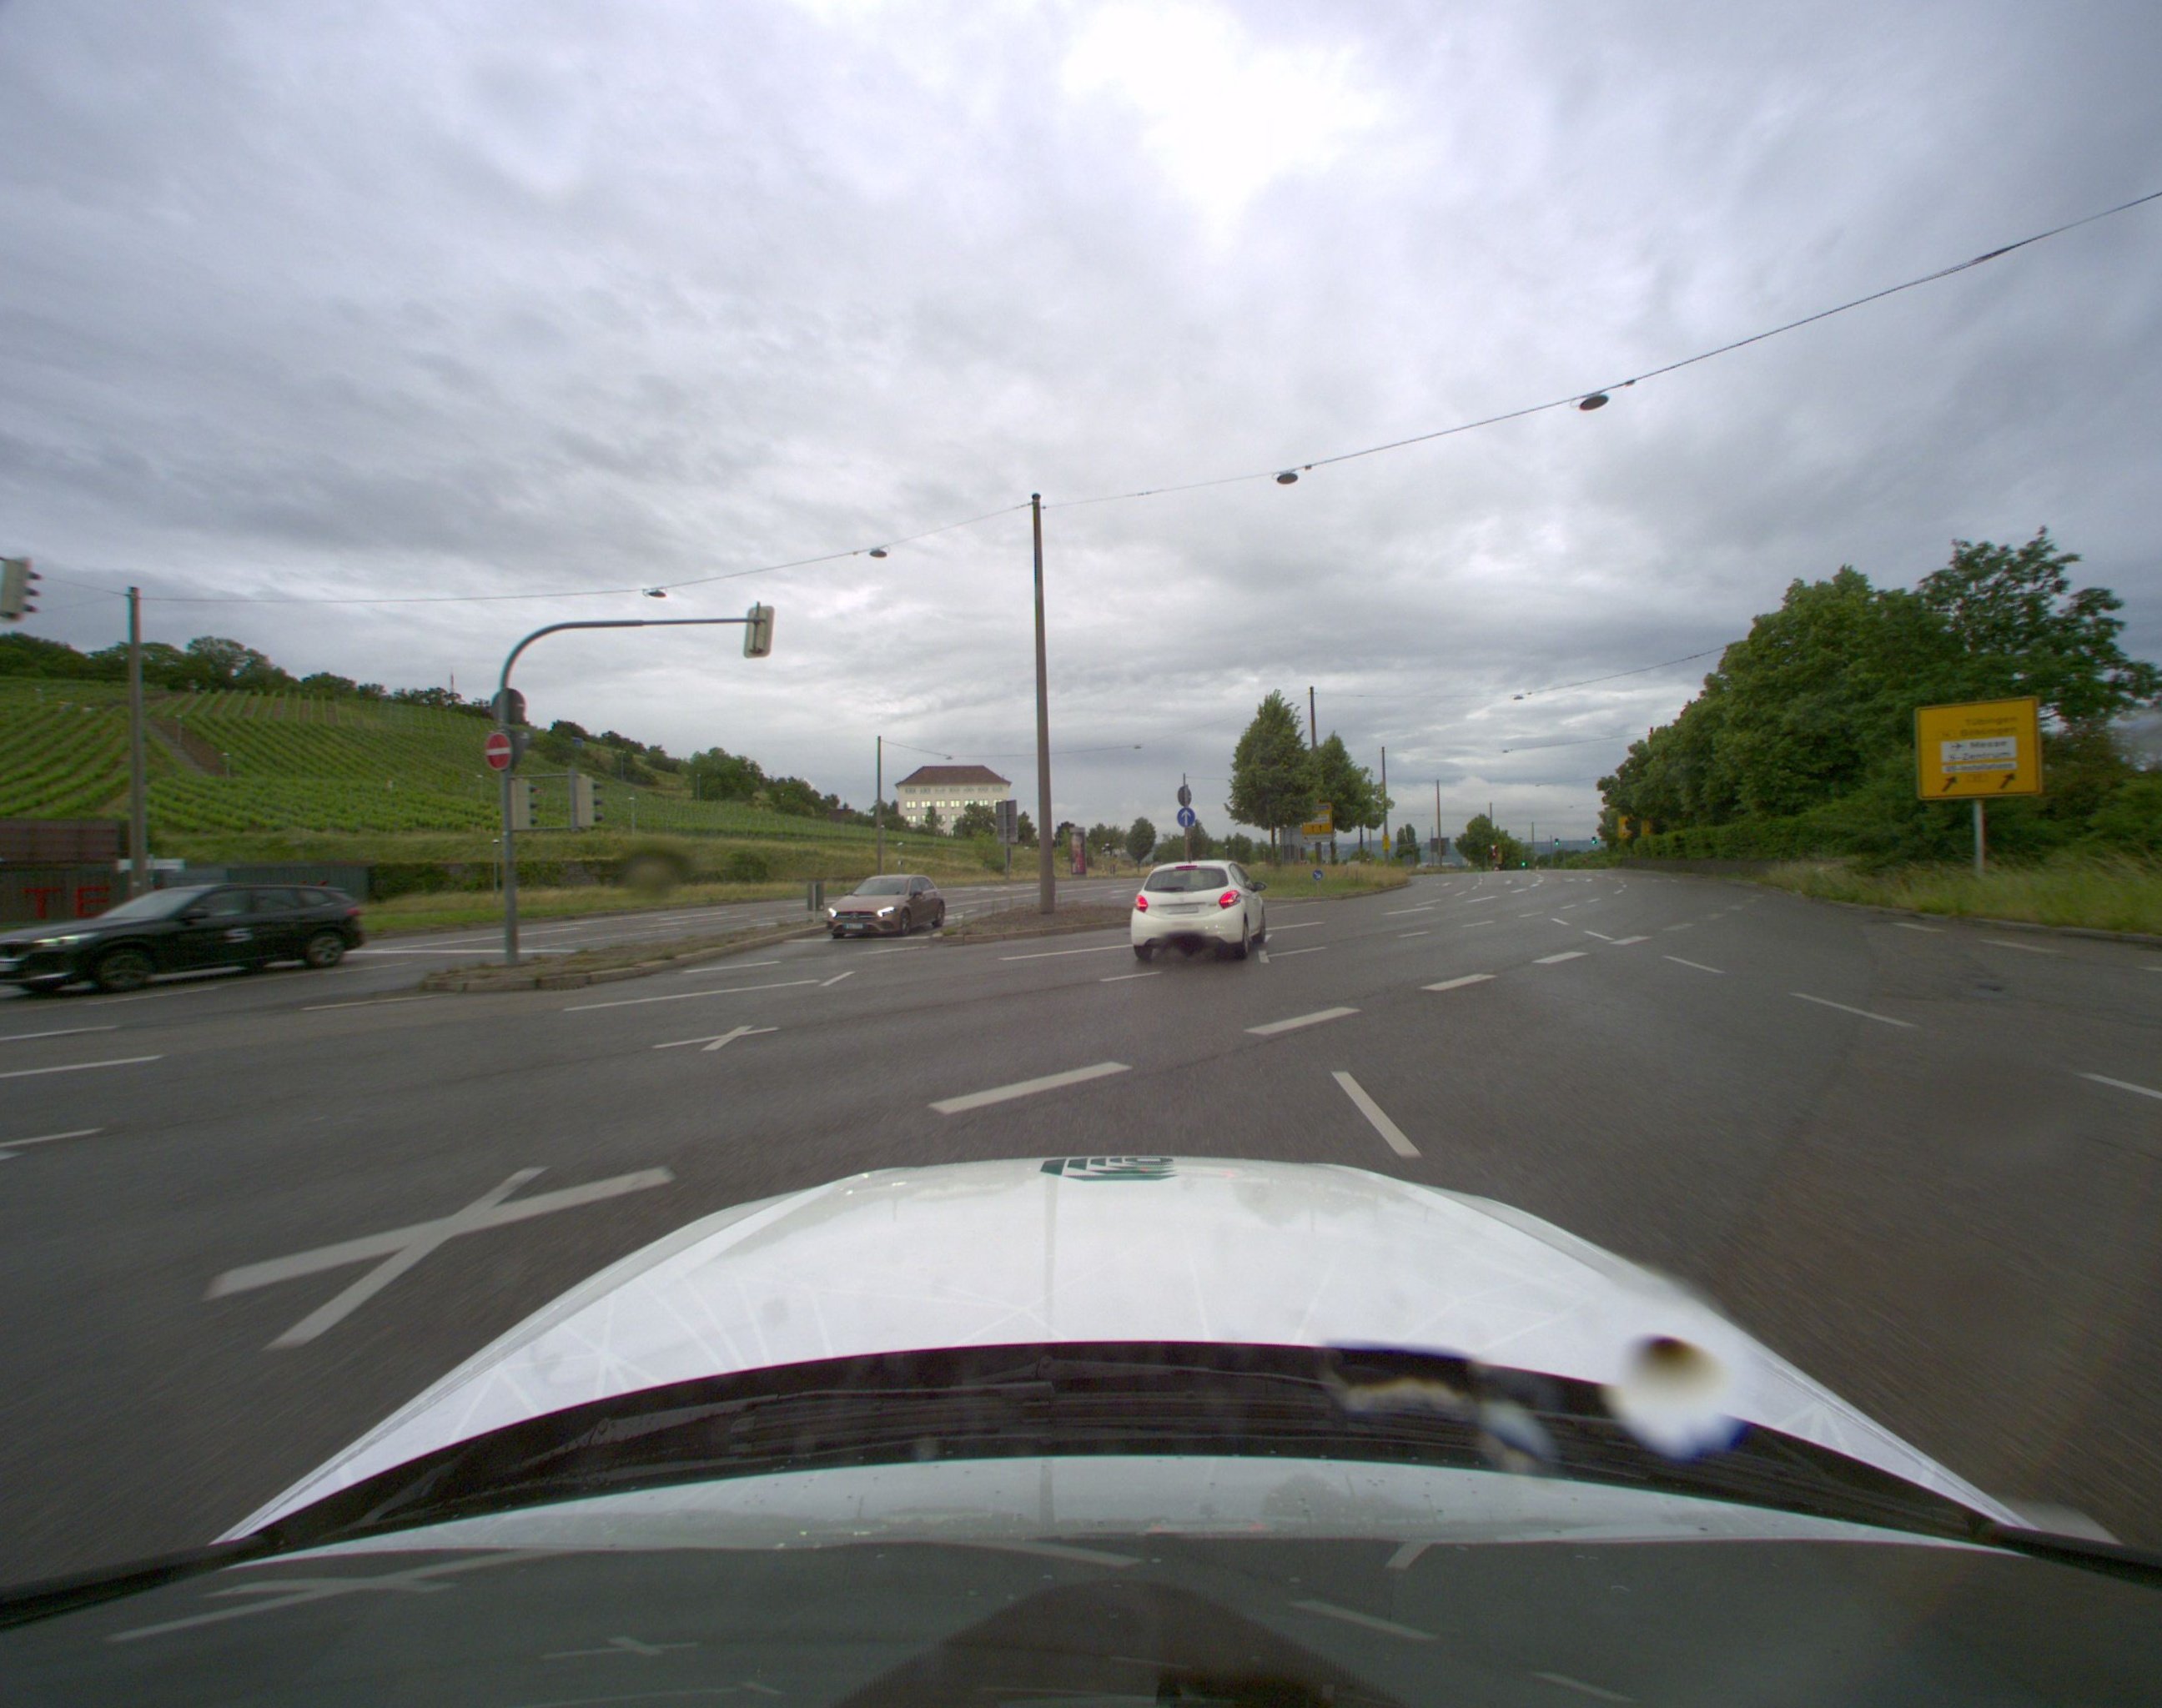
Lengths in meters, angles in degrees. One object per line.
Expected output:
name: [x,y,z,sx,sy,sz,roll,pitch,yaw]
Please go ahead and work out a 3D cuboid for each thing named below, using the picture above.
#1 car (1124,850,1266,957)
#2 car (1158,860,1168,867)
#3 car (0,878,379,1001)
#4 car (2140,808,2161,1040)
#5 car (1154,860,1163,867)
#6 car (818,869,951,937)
car: [2.025,0.707,13.416,1.704,1.489,4.017,-1,-1,17]
car: [19.555,2.242,194.340,1.835,1.486,3.999,-2,0,0]
car: [-15.123,1.281,13.912,1.763,1.636,4.525,0,-1,13]
car: [8.257,0.509,3.583,1.853,1.674,4.580,-1,0,12]
car: [19.271,2.325,202.739,1.835,1.486,3.999,-2,0,0]
car: [-4.757,1.141,20.426,1.766,1.425,4.382,-2,-1,7]
